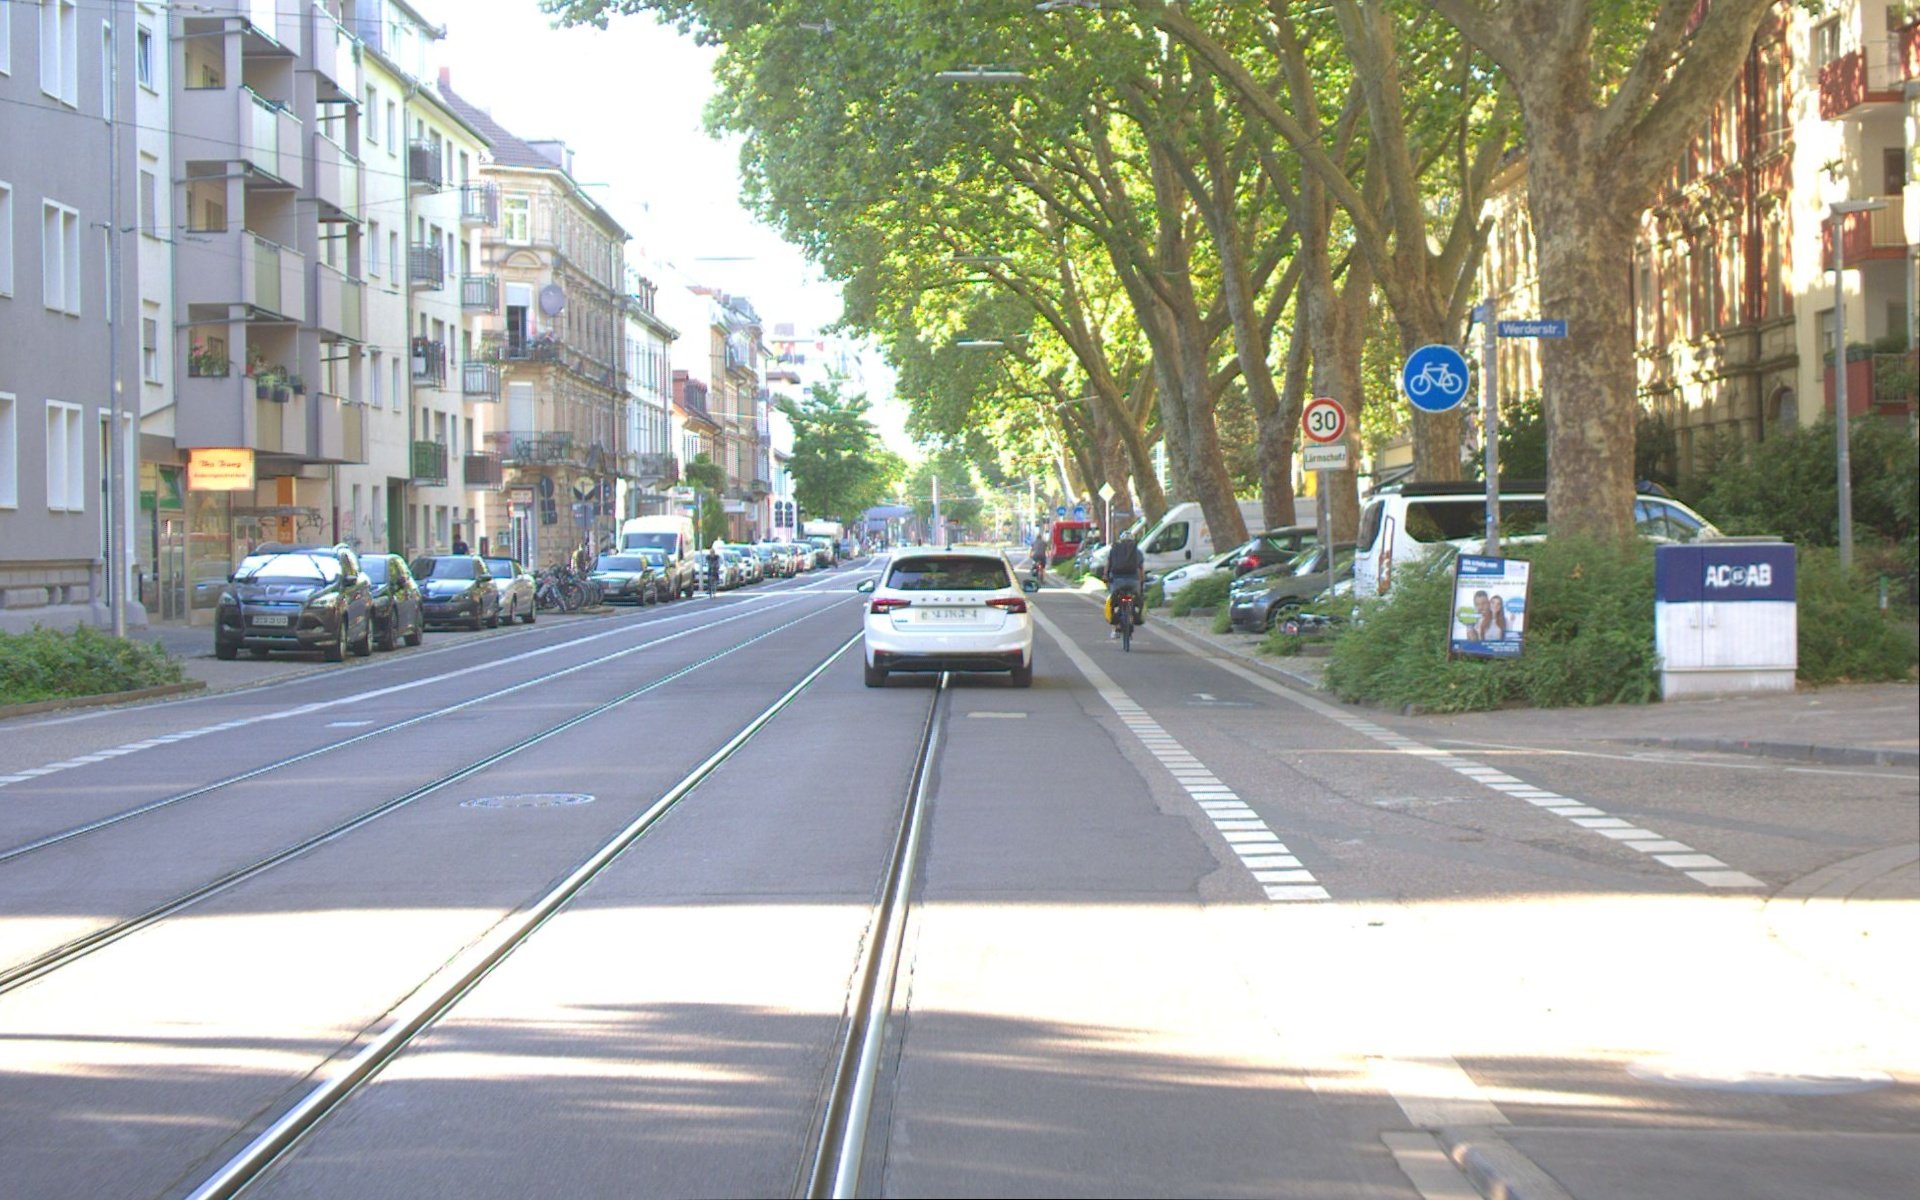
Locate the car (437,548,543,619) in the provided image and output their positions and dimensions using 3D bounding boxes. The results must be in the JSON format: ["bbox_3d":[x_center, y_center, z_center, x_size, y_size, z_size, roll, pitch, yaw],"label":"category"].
[{"bbox_3d":[-9.759,-0.362,71.609,1.485,1.398,3.990,-1,1,2],"label":"car"}]

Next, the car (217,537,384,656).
[{"bbox_3d":[-9.678,-0.088,50.716,1.702,1.645,4.242,2,1,-1],"label":"car"}]

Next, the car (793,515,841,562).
[{"bbox_3d":[-9.571,-4.094,230.307,2.968,3.145,5.847,0,1,0],"label":"car"}]

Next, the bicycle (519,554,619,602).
[{"bbox_3d":[-10.044,-0.558,88.344,2.524,1.168,0.719,1,-1,-6],"label":"bicycle"}]

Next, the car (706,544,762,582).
[{"bbox_3d":[-9.294,-1.544,141.720,1.993,1.525,4.000,-1,1,0],"label":"car"}]

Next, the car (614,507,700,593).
[{"bbox_3d":[-9.441,-1.576,107.422,2.178,2.588,4.949,-1,1,0],"label":"car"}]

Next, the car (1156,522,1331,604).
[{"bbox_3d":[6.031,-0.799,73.406,3.634,1.660,1.822,-1,1,3],"label":"car"}]

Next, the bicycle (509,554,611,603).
[{"bbox_3d":[-10.052,-0.531,86.441,2.524,1.168,0.719,1,-1,-4],"label":"bicycle"}]

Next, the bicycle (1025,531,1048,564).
[{"bbox_3d":[2.519,-1.731,113.356,0.649,1.067,1.583,-1,1,-2],"label":"bicycle"}]

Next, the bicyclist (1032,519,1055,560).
[{"bbox_3d":[2.750,-1.996,113.255,0.649,1.339,0.934,-1,1,-2],"label":"bicyclist"}]

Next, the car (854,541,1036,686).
[{"bbox_3d":[-0.131,0.100,35.873,1.761,1.379,4.000,-1,1,1],"label":"car"}]

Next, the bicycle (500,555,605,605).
[{"bbox_3d":[-10.018,-0.495,84.566,2.524,1.168,0.719,1,-1,-6],"label":"bicycle"}]

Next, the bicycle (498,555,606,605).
[{"bbox_3d":[-9.943,-0.480,83.798,2.525,1.168,0.883,1,-1,-39],"label":"bicycle"}]

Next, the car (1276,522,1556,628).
[{"bbox_3d":[6.904,-0.388,52.311,3.987,1.509,1.761,-1,1,-1],"label":"car"}]

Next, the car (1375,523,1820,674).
[{"bbox_3d":[6.639,-0.034,36.084,4.297,1.474,1.831,-1,1,-1],"label":"car"}]

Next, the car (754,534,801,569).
[{"bbox_3d":[-8.672,-2.308,163.745,1.993,1.634,4.000,0,1,0],"label":"car"}]

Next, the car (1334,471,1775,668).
[{"bbox_3d":[6.628,-0.353,38.658,4.543,2.069,2.001,-1,1,-2],"label":"car"}]

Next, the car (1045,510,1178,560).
[{"bbox_3d":[7.220,-3.111,164.476,6.130,2.274,2.529,-1,1,-1],"label":"car"}]

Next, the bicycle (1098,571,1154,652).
[{"bbox_3d":[2.289,0.148,47.576,0.681,1.067,1.781,-1,1,1],"label":"bicycle"}]

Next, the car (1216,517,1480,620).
[{"bbox_3d":[6.569,-0.544,58.482,4.234,1.660,1.848,-1,1,-1],"label":"car"}]

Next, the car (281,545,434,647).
[{"bbox_3d":[-9.747,-0.096,55.888,1.702,1.539,4.242,2,1,0],"label":"car"}]

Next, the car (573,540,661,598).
[{"bbox_3d":[-9.526,-0.877,95.707,1.993,1.525,4.000,-1,1,0],"label":"car"}]

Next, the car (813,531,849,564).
[{"bbox_3d":[-7.935,-3.242,211.316,1.993,2.007,4.000,-1,1,0],"label":"car"}]

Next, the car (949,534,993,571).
[{"bbox_3d":[0.486,-1.971,142.333,1.761,1.470,4.000,-1,1,1],"label":"car"}]

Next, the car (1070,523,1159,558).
[{"bbox_3d":[7.158,-2.758,159.789,4.049,1.535,2.000,-1,1,0],"label":"car"}]

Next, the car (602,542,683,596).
[{"bbox_3d":[-9.351,-0.941,101.486,1.993,1.525,4.000,-1,1,0],"label":"car"}]

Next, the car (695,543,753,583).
[{"bbox_3d":[-9.392,-1.496,136.912,1.993,1.525,4.000,-1,1,0],"label":"car"}]

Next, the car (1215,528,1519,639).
[{"bbox_3d":[5.869,-0.258,49.883,4.142,1.509,1.931,-1,1,-1],"label":"car"}]

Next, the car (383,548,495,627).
[{"bbox_3d":[-10.025,-0.265,66.336,1.653,1.432,3.837,-1,1,-1],"label":"car"}]

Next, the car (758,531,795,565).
[{"bbox_3d":[-11.149,-3.164,208.879,1.993,2.007,4.000,-1,1,0],"label":"car"}]

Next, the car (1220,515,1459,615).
[{"bbox_3d":[6.686,-0.620,60.786,3.987,1.674,1.723,-1,1,-1],"label":"car"}]

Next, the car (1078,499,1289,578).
[{"bbox_3d":[6.747,-1.866,104.261,6.130,2.274,2.529,-1,1,-1],"label":"car"}]

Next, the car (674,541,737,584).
[{"bbox_3d":[-9.445,-1.404,127.758,1.993,1.525,4.000,-1,1,0],"label":"car"}]

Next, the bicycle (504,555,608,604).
[{"bbox_3d":[-10.030,-0.510,85.453,2.524,1.168,0.719,1,-1,-4],"label":"bicycle"}]

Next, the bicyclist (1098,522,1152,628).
[{"bbox_3d":[2.283,-0.350,47.639,0.678,1.438,1.047,-1,1,1],"label":"bicyclist"}]

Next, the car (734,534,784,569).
[{"bbox_3d":[-9.163,-2.213,157.060,1.993,1.525,4.000,-1,1,0],"label":"car"}]

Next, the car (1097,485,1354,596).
[{"bbox_3d":[6.569,-1.478,85.645,6.130,2.626,2.529,-1,1,-1],"label":"car"}]

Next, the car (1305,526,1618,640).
[{"bbox_3d":[6.901,-0.244,47.619,4.036,1.474,1.923,-1,1,1],"label":"car"}]

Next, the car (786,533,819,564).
[{"bbox_3d":[-10.210,-3.356,223.167,1.993,2.007,4.000,0,1,0],"label":"car"}]
